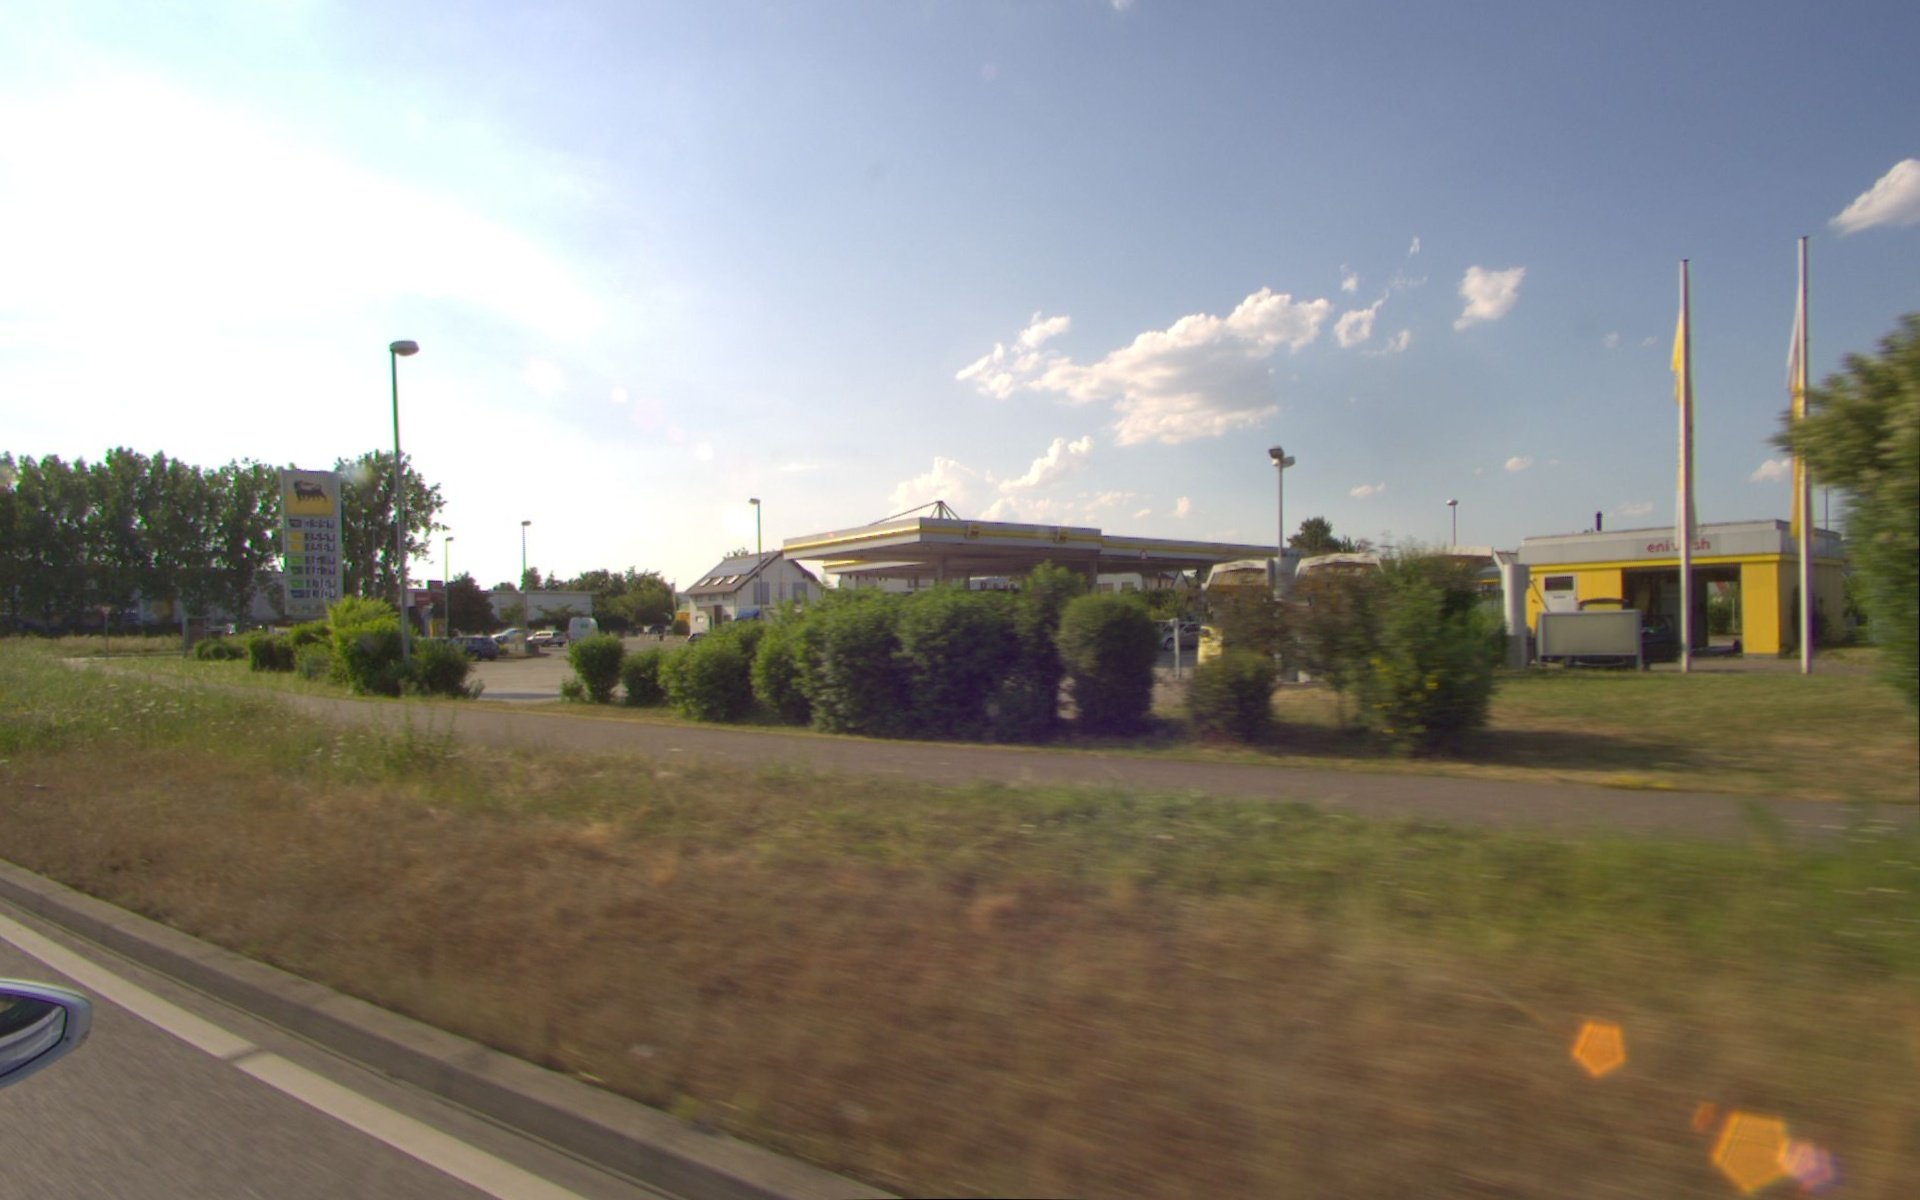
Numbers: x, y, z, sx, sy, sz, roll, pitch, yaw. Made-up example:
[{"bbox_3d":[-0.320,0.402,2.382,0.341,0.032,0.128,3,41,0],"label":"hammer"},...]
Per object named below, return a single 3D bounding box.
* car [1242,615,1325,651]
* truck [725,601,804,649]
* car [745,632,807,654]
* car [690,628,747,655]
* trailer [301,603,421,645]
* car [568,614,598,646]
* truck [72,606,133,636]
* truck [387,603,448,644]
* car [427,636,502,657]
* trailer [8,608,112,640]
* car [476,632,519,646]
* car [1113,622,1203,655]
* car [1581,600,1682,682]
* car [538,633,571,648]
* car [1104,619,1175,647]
[{"bbox_3d":[15.865,1.651,49.027,4.295,1.557,1.791,4,-5,-38],"label":"car"},{"bbox_3d":[-16.236,2.181,83.782,2.719,3.733,8.002,-1,-4,20],"label":"truck"},{"bbox_3d":[-14.227,3.365,77.498,4.339,1.654,1.851,-1,-3,12],"label":"car"},{"bbox_3d":[-18.984,3.261,78.719,4.013,2.038,1.769,0,-3,15],"label":"car"},{"bbox_3d":[-60.586,2.518,101.126,13.482,3.963,2.248,-1,-3,20],"label":"trailer"},{"bbox_3d":[-32.468,2.627,86.300,2.198,2.549,6.808,1,-3,-19],"label":"car"},{"bbox_3d":[-97.888,2.441,114.330,5.607,3.200,2.627,-2,-3,17],"label":"truck"},{"bbox_3d":[-53.484,2.359,98.776,5.024,3.963,2.250,-1,-3,14],"label":"truck"},{"bbox_3d":[-30.153,2.848,60.948,3.841,1.216,1.603,-1,-5,8],"label":"car"},{"bbox_3d":[-104.722,2.820,116.463,13.034,3.179,2.690,-3,-3,17],"label":"trailer"},{"bbox_3d":[-50.338,4.238,108.975,4.433,1.395,2.136,-2,-4,30],"label":"car"},{"bbox_3d":[10.344,2.044,52.334,4.268,1.557,1.802,2,-4,-18],"label":"car"},{"bbox_3d":[18.780,1.194,28.150,1.891,2.140,3.678,-2,-4,27],"label":"car"},{"bbox_3d":[-39.712,3.930,98.041,3.088,1.395,1.557,-2,-4,34],"label":"car"},{"bbox_3d":[11.267,2.093,63.117,1.783,1.557,4.313,4,-5,-37],"label":"car"}]
